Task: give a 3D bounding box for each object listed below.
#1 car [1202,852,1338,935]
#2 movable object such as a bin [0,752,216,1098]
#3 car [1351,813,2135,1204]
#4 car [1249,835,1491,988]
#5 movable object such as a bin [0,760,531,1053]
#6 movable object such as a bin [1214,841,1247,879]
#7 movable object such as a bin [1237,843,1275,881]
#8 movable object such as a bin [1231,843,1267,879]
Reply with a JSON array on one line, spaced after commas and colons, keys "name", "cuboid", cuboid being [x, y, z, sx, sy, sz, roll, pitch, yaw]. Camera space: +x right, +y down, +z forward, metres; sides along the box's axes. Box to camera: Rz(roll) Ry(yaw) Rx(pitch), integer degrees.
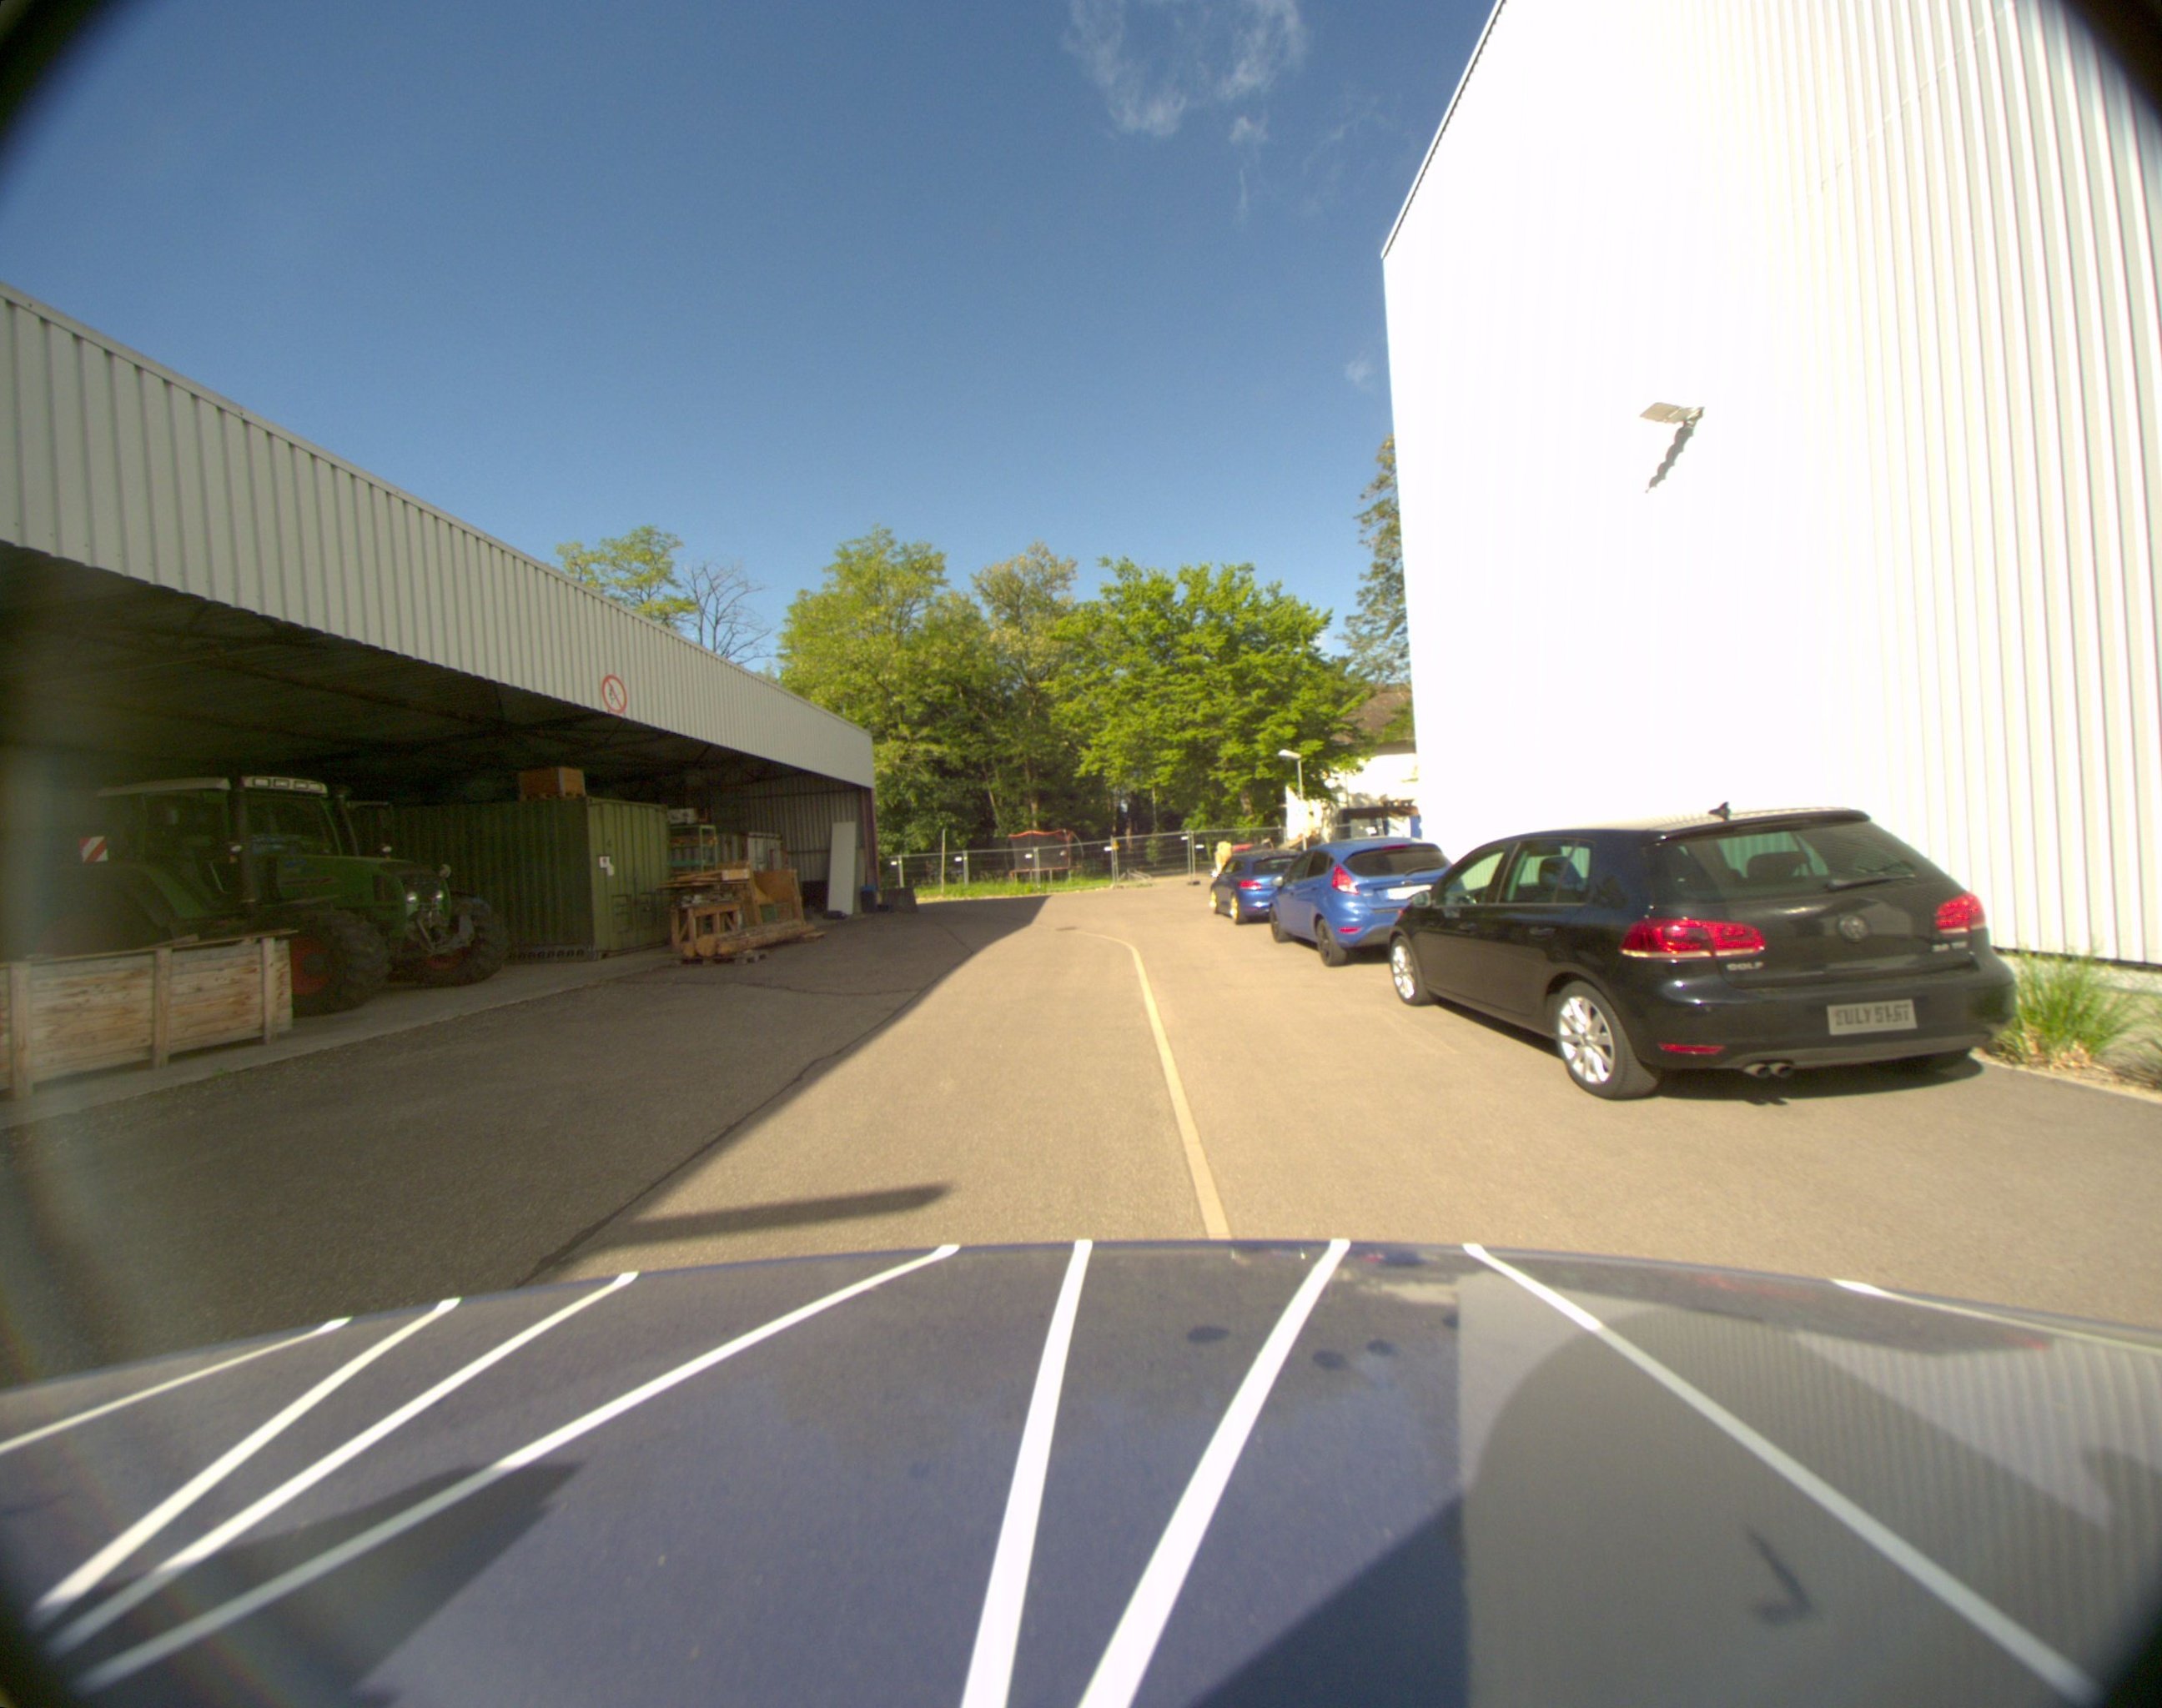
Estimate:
[{"name": "car", "cuboid": [3.727, 0.710, 15.720, 1.778, 1.352, 4.053, -5, 0, 1]}, {"name": "movable object such as a bin", "cuboid": [-12.147, 0.780, 6.428, 6.200, 2.893, 3.017, -4, 0, 3]}, {"name": "car", "cuboid": [3.529, 0.653, 5.335, 1.758, 1.491, 4.294, -6, 0, 2]}, {"name": "car", "cuboid": [3.587, 0.624, 10.289, 1.634, 1.491, 4.095, -6, 0, 1]}, {"name": "movable object such as a bin", "cuboid": [-12.850, 0.756, 9.757, 9.214, 2.893, 3.212, -4, 0, 3]}, {"name": "movable object such as a bin", "cuboid": [6.738, 0.260, 34.372, 1.093, 1.588, 1.230, -4, 2, -4]}, {"name": "movable object such as a bin", "cuboid": [7.158, 0.332, 31.127, 1.093, 1.424, 1.230, -5, 1, -4]}, {"name": "movable object such as a bin", "cuboid": [7.158, 0.295, 32.460, 1.093, 1.431, 1.230, -5, 1, -4]}]
